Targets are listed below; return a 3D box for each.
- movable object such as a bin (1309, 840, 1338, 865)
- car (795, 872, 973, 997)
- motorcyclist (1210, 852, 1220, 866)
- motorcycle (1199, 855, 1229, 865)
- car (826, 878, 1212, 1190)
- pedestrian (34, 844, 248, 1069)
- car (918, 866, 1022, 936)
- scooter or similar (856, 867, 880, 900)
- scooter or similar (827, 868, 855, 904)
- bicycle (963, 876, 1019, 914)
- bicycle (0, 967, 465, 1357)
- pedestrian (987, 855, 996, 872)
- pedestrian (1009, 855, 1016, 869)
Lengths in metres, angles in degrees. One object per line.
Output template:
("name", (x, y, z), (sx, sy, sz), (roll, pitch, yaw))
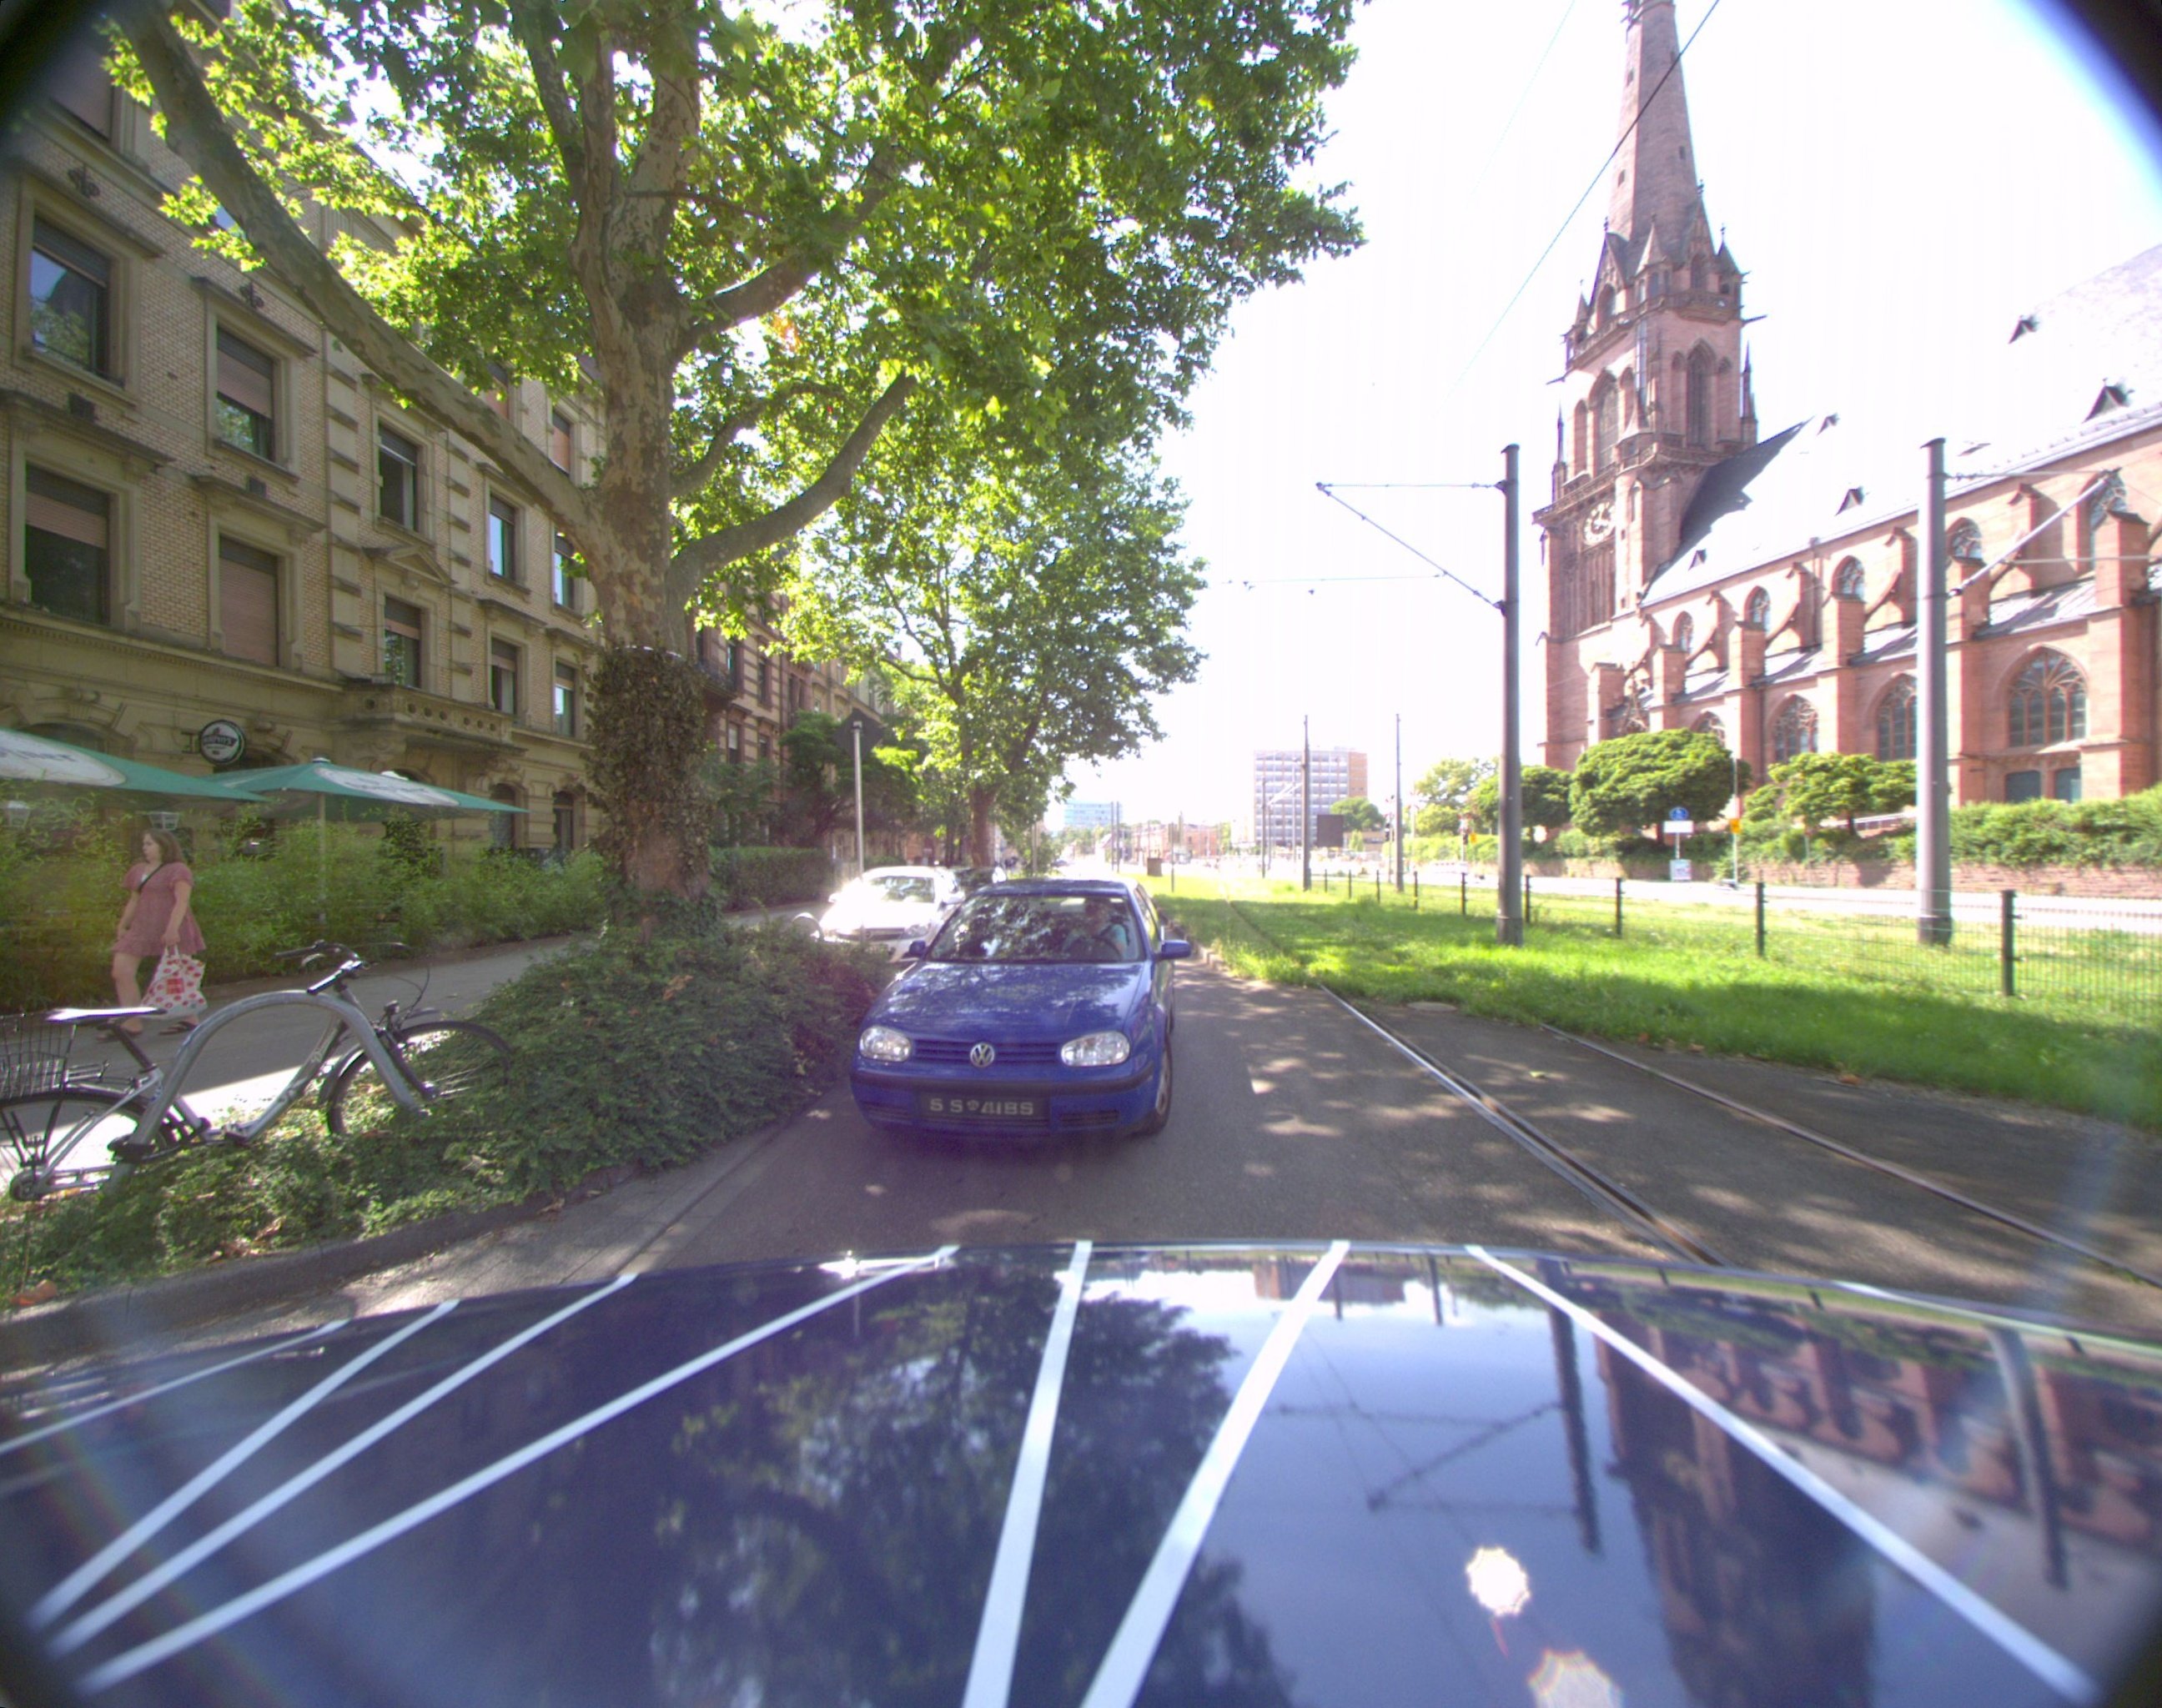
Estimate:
("movable object such as a bin", (37.614, -0.233, 117.888), (3.341, 3.859, 2.932), (0, 0, -33))
("car", (-2.867, 1.090, 12.074), (1.838, 1.499, 4.491), (0, 0, -3))
("motorcyclist", (18.511, 0.665, 104.764), (1.105, 1.919, 1.335), (0, 0, 21))
("motorcycle", (18.340, 0.893, 104.830), (3.928, 1.331, 1.247), (-1, 0, 21))
("car", (-0.248, 0.953, 5.775), (1.886, 1.401, 4.093), (-1, 0, 2))
("pedestrian", (-7.949, 0.817, 6.473), (0.738, 1.775, 0.852), (1, 0, 0))
("car", (-2.635, 1.082, 19.159), (1.838, 1.499, 4.643), (0, 0, 1))
("scooter or similar", (-8.287, 1.134, 29.592), (0.583, 1.275, 1.145), (0, 0, 3))
("scooter or similar", (-8.484, 1.116, 26.871), (0.583, 1.240, 1.145), (0, 0, 1))
("bicycle", (-2.733, 1.247, 23.189), (1.641, 1.082, 0.470), (0, 0, -32))
("bicycle", (-3.524, 1.115, 3.012), (0.421, 1.099, 1.620), (0, 0, 31))
("pedestrian", (-9.090, 0.914, 77.124), (0.797, 1.708, 0.968), (-1, 0, 0))
("pedestrian", (-8.431, 1.013, 93.601), (0.797, 1.708, 0.968), (-1, 0, 0))
